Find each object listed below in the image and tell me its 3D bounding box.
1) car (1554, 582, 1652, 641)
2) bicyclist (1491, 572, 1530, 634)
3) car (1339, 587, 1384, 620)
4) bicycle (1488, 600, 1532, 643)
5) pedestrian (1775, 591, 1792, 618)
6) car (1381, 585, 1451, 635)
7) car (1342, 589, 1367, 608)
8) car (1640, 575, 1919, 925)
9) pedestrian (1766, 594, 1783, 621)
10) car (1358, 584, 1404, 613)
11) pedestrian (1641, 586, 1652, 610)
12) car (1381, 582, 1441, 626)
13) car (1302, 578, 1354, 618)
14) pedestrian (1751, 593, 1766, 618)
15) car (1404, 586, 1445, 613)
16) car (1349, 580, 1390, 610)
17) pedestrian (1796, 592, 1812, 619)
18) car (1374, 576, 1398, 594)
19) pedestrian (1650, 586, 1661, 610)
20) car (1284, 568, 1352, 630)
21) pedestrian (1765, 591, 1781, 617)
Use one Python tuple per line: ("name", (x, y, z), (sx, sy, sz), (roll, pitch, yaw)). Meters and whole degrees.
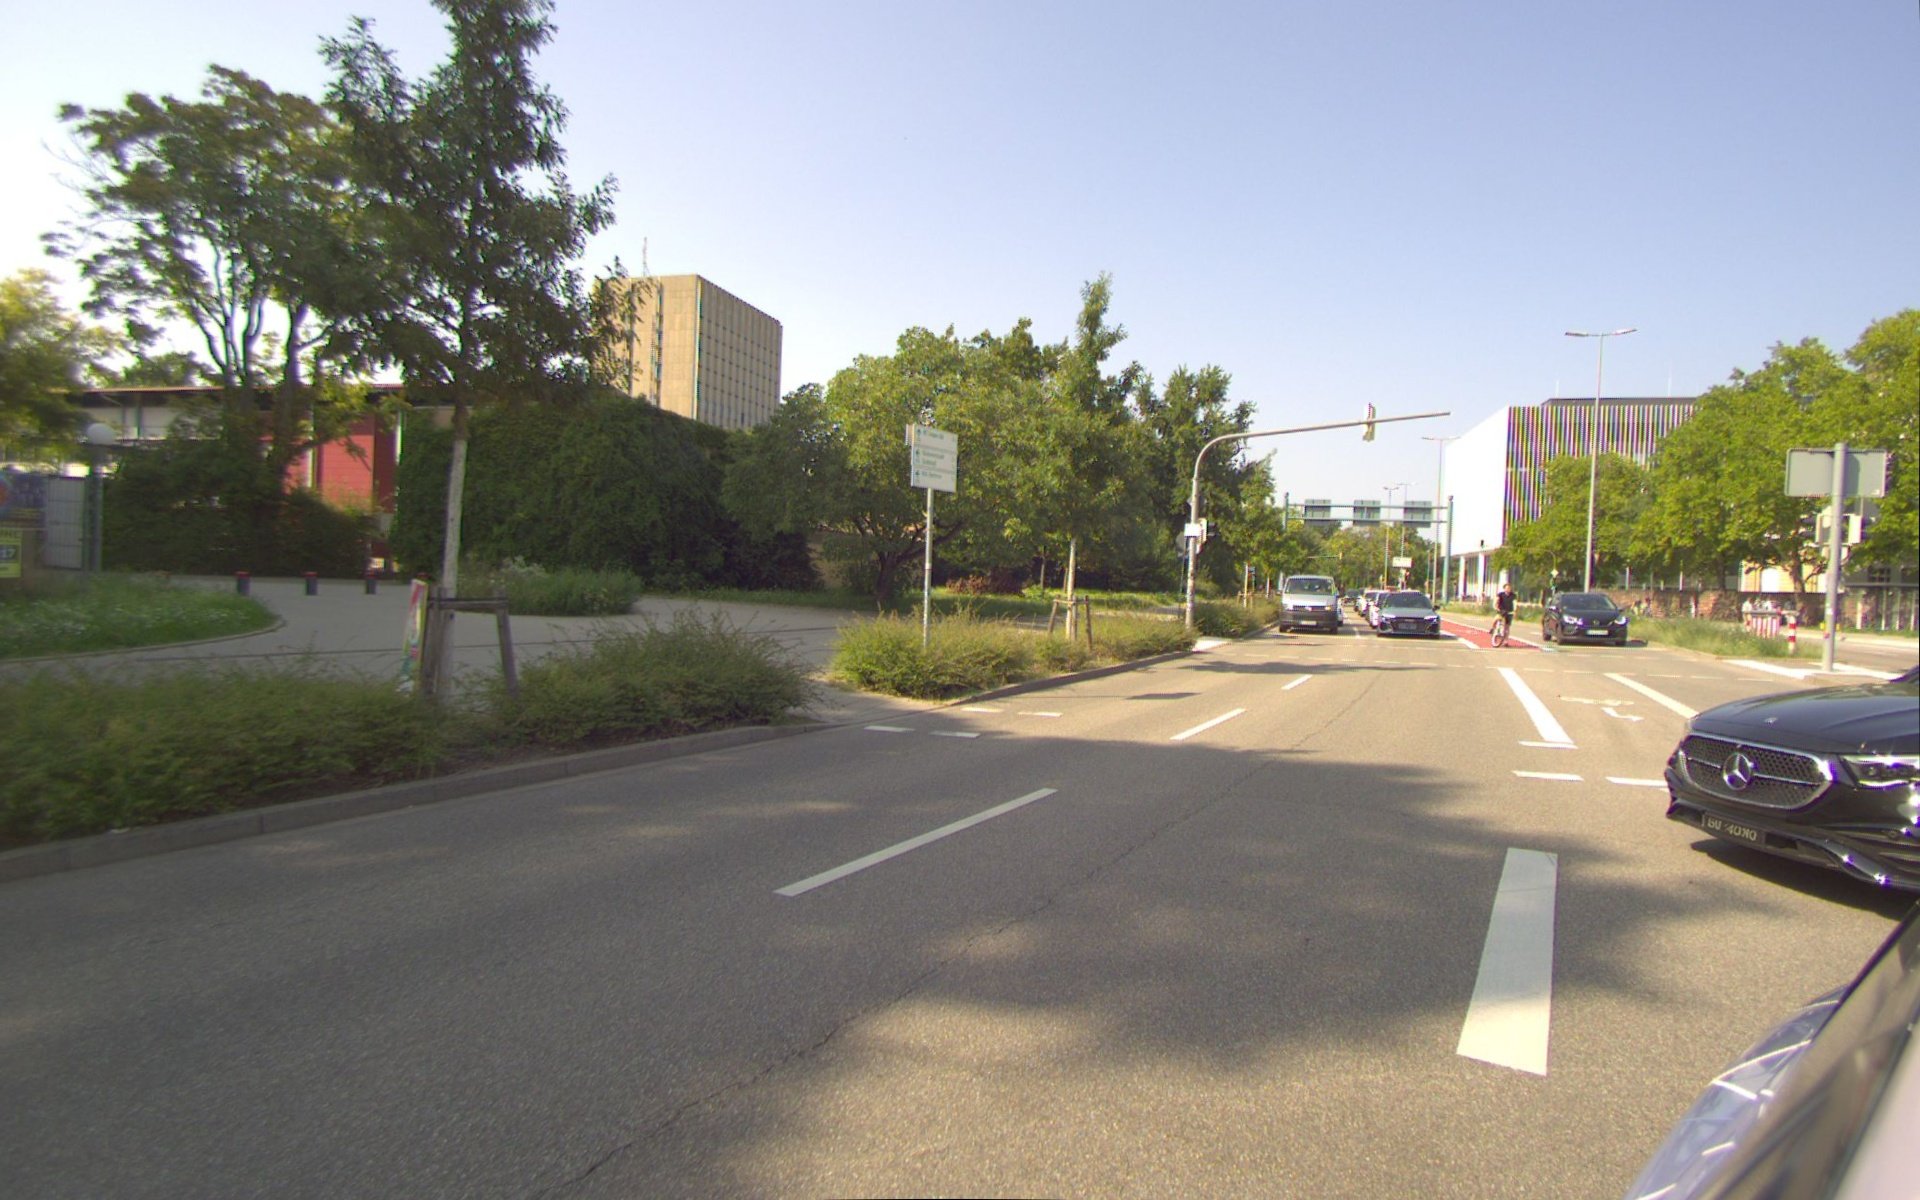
("car", (19.160, 0.278, 30.336), (1.834, 1.598, 4.675), (1, 1, 25))
("bicyclist", (15.159, 0.077, 27.891), (0.740, 1.655, 0.869), (3, 1, 21))
("car", (20.555, 0.142, 51.971), (1.976, 1.524, 4.405), (3, 2, 20))
("bicycle", (15.129, 0.581, 27.875), (0.761, 1.065, 1.763), (3, 2, 21))
("pedestrian", (51.757, 0.302, 63.580), (0.510, 1.672, 0.594), (3, -1, 0))
("car", (14.917, 0.261, 33.254), (1.890, 1.418, 4.881), (3, 2, 23))
("car", (38.525, -0.177, 98.861), (1.907, 1.680, 4.272), (3, 2, 17))
("car", (6.440, 0.691, 5.046), (4.781, 1.458, 1.826), (2, 1, 0))
("pedestrian", (51.695, 0.454, 64.231), (0.510, 1.672, 0.594), (3, -1, 0))
("car", (23.557, -0.117, 56.797), (1.907, 1.524, 4.272), (3, 2, 17))
("pedestrian", (51.886, -0.152, 76.498), (0.479, 1.762, 0.502), (3, -1, 16))
("car", (17.669, 0.111, 39.782), (1.978, 1.524, 4.400), (3, 2, 23))
("car", (15.379, -0.114, 42.205), (1.791, 1.524, 3.937), (3, 2, 23))
("pedestrian", (52.170, 0.345, 66.095), (0.524, 1.591, 0.502), (3, -1, -2))
("car", (31.089, -0.055, 67.828), (1.907, 1.680, 4.272), (3, 2, 17))
("car", (25.295, -0.340, 62.577), (1.907, 1.680, 4.272), (3, 2, 17))
("pedestrian", (52.901, 0.362, 63.448), (0.474, 1.672, 0.594), (3, -1, 0))
("car", (53.973, -1.932, 128.327), (1.889, 2.039, 3.986), (3, -1, 11))
("pedestrian", (52.364, -0.129, 76.190), (0.479, 1.762, 0.502), (3, -1, 16))
("car", (12.295, -0.089, 34.578), (1.827, 1.898, 4.934), (3, 2, 23))
("pedestrian", (53.212, 0.242, 66.236), (0.474, 1.672, 0.594), (3, -1, 0))
